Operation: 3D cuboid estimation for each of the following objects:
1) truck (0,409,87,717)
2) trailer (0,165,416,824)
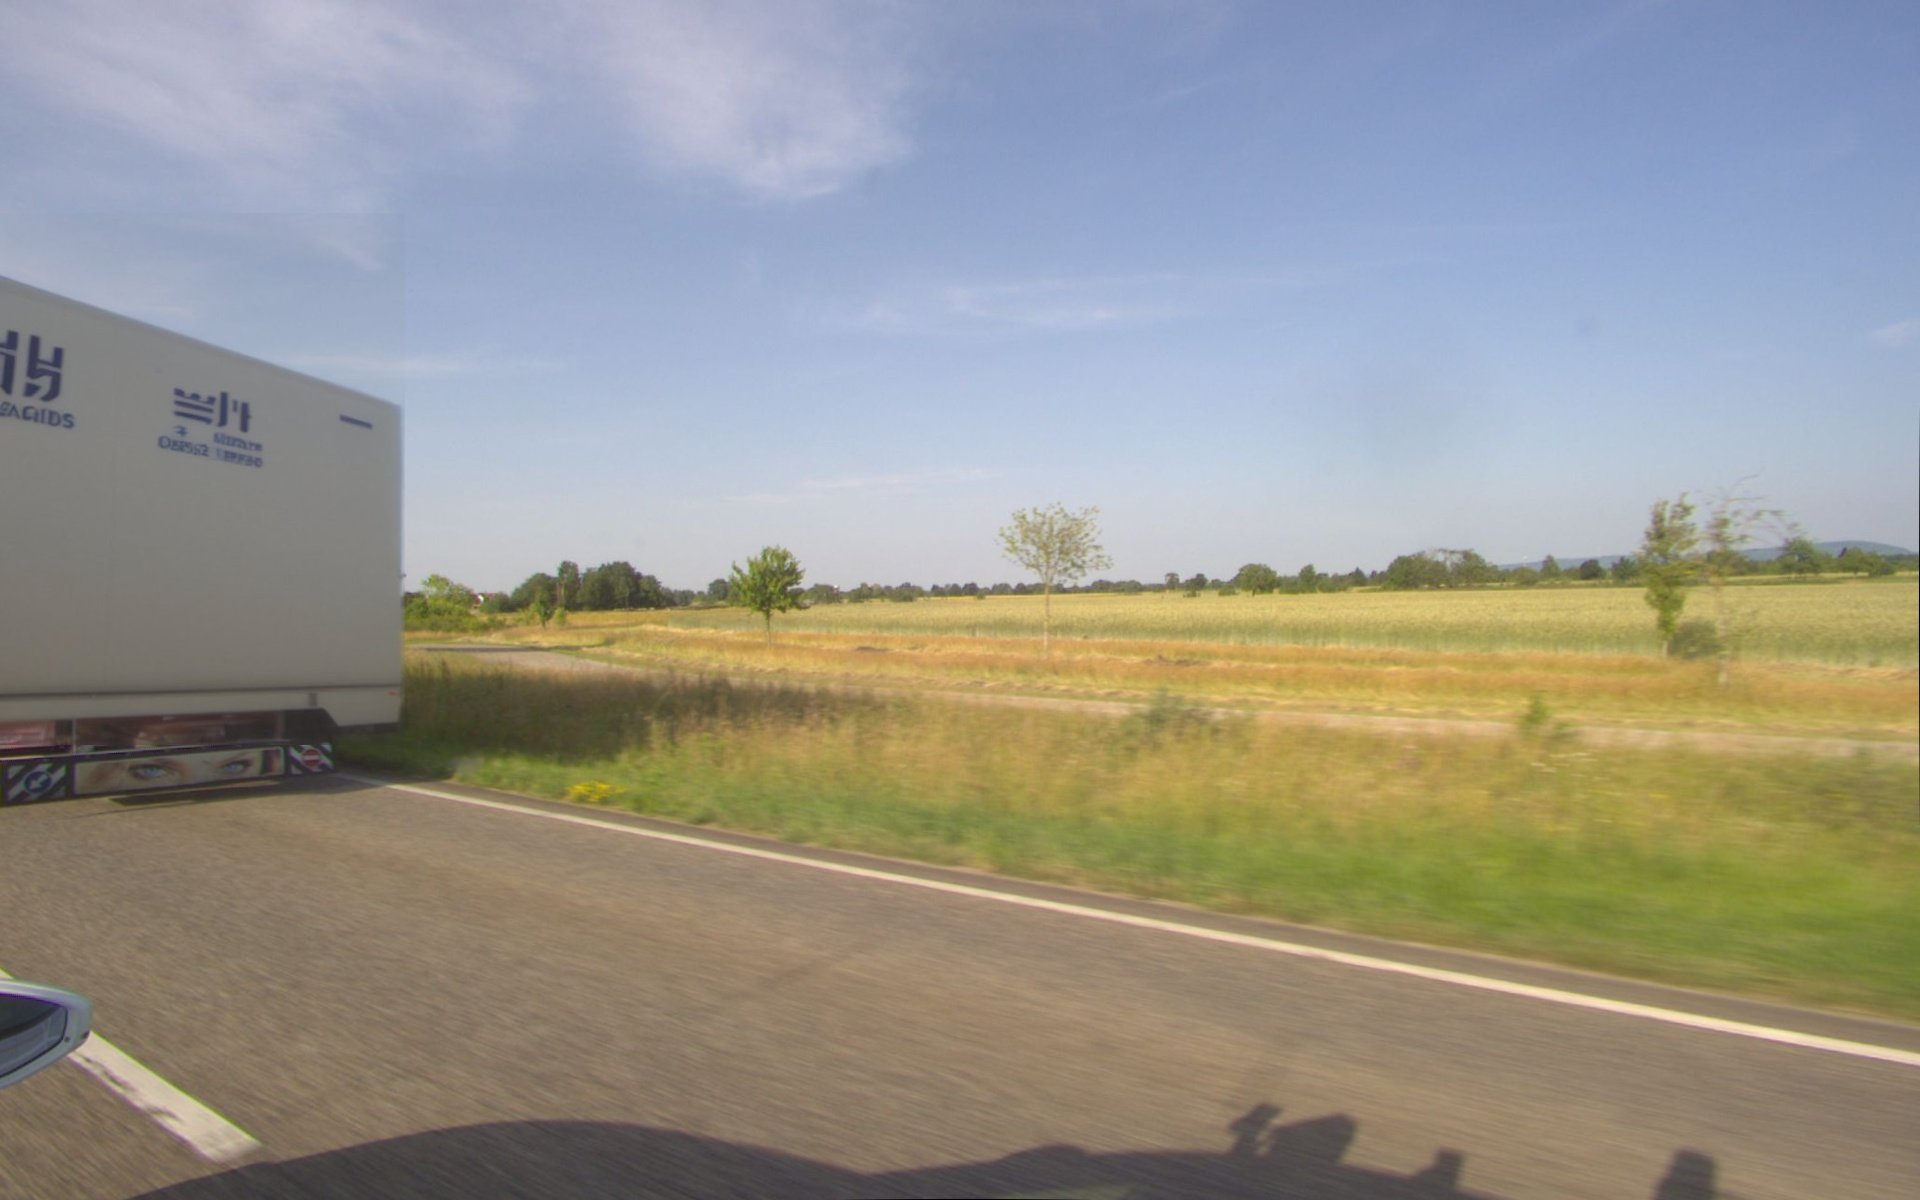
[{"bbox_3d":[-17.349,-0.535,16.524,5.658,4.717,3.290,-1,-1,37],"label":"truck"},{"bbox_3d":[-11.372,-0.653,12.104,12.976,4.741,3.271,-1,-1,37],"label":"trailer"}]
